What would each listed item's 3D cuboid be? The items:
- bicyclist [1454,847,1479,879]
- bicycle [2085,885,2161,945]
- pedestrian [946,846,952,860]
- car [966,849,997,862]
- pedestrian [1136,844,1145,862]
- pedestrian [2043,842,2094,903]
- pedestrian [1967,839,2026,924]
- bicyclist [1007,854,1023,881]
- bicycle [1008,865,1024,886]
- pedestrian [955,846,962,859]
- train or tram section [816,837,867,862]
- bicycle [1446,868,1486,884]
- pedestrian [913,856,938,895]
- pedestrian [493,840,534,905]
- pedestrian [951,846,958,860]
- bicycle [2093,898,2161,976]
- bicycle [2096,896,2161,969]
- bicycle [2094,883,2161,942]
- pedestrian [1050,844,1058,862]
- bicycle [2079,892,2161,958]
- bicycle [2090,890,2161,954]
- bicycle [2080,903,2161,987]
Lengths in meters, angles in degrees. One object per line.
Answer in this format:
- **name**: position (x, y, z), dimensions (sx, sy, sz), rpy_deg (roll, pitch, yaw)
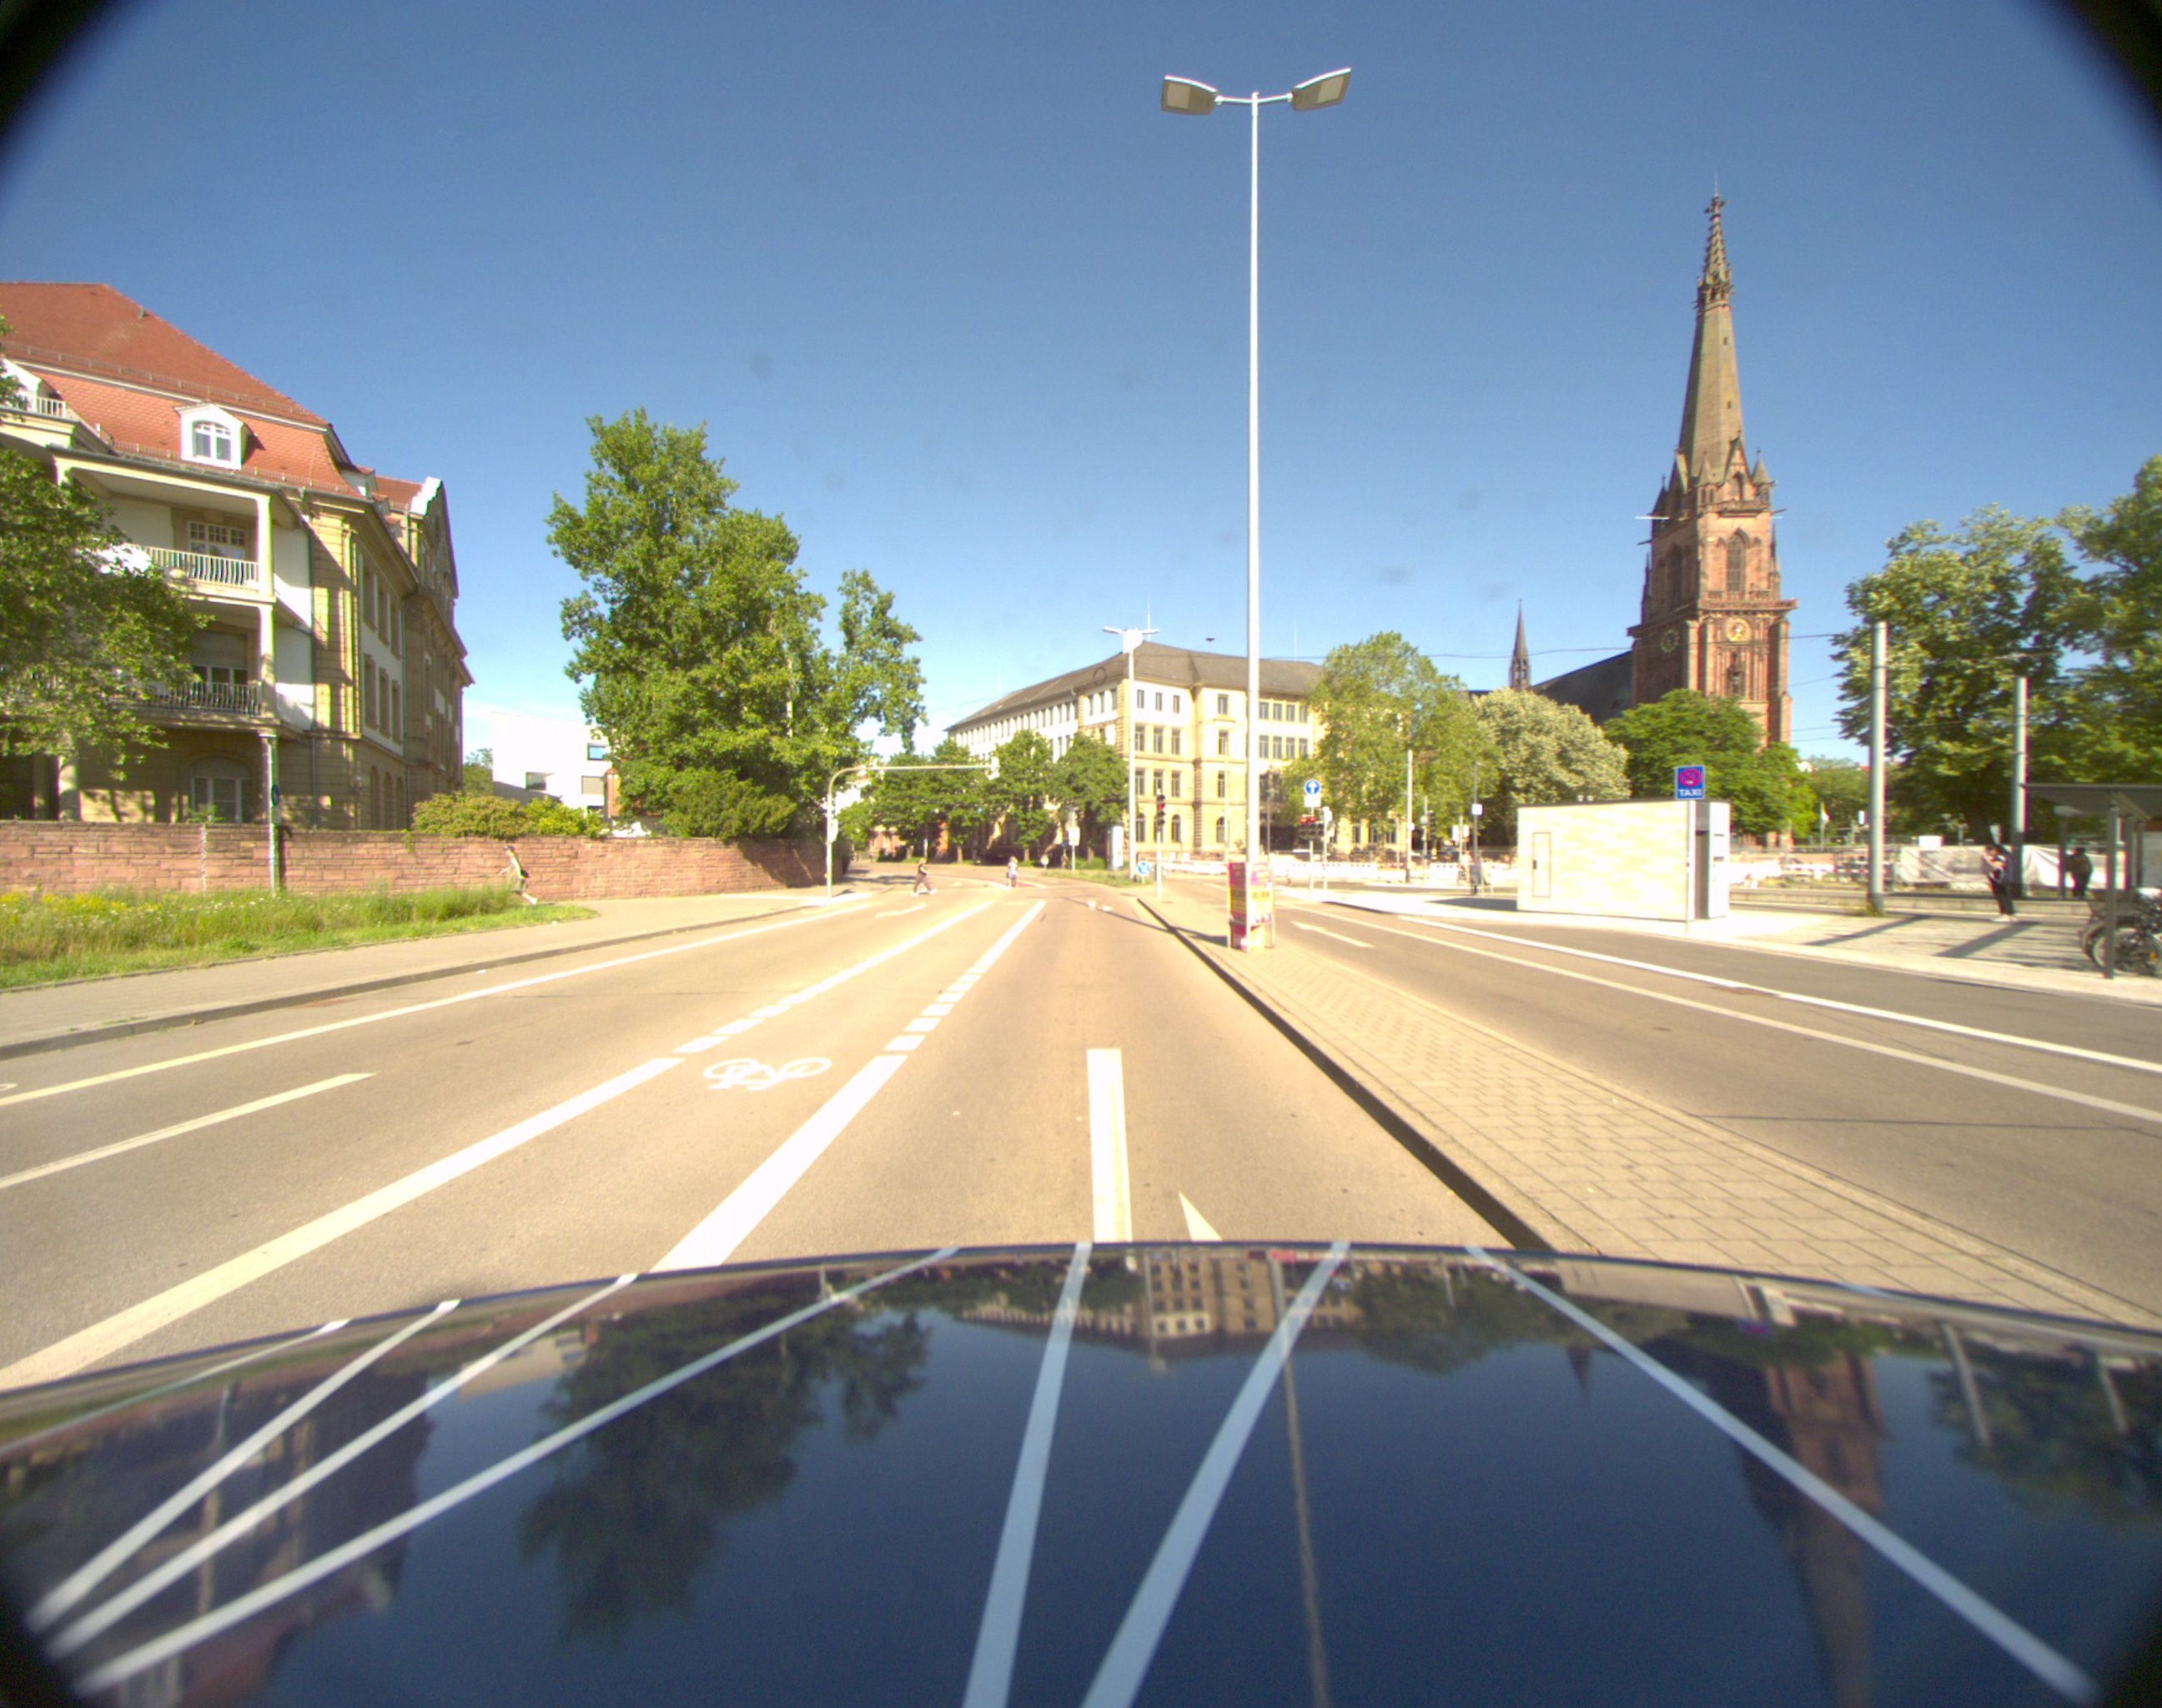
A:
- **bicyclist**: position (19.525, 0.441, 38.479), dimensions (0.887, 1.562, 0.739), rpy_deg (-1, 1, -29)
- **bicycle**: position (19.031, 1.083, 13.335), dimensions (0.407, 0.993, 1.679), rpy_deg (-3, 2, -33)
- **pedestrian**: position (-18.391, -0.129, 105.808), dimensions (0.578, 1.893, 0.781), rpy_deg (-1, 1, -36)
- **car**: position (-11.895, 0.144, 90.590), dimensions (1.839, 1.587, 3.989), rpy_deg (-1, 1, -37)
- **pedestrian**: position (5.617, -0.094, 71.772), dimensions (0.540, 1.710, 0.545), rpy_deg (-1, 1, -37)
- **pedestrian**: position (30.547, 0.555, 23.516), dimensions (0.619, 1.849, 0.703), rpy_deg (0, 1, 11)
- **pedestrian**: position (20.387, 0.584, 16.923), dimensions (0.621, 1.849, 0.700), rpy_deg (-1, 1, -28)
- **bicyclist**: position (-3.437, 0.715, 39.655), dimensions (0.741, 1.363, 0.626), rpy_deg (-2, 1, -6)
- **bicycle**: position (-3.417, 1.122, 39.676), dimensions (0.741, 0.989, 2.305), rpy_deg (-2, 1, -6)
- **pedestrian**: position (-17.403, -0.190, 107.802), dimensions (0.578, 1.893, 0.849), rpy_deg (-1, 1, -36)
- **train or tram section**: position (-35.411, -0.648, 111.646), dimensions (2.947, 3.500, 13.802), rpy_deg (-1, 1, -36)
- **bicycle**: position (19.499, 1.109, 38.461), dimensions (2.055, 0.777, 0.739), rpy_deg (-1, 1, -28)
- **pedestrian**: position (-6.753, 0.913, 33.002), dimensions (0.932, 1.657, 0.630), rpy_deg (0, 1, 0)
- **pedestrian**: position (-16.412, 0.512, 21.986), dimensions (0.628, 1.847, 0.789), rpy_deg (1, 1, 40)
- **pedestrian**: position (-17.709, -0.160, 106.204), dimensions (0.578, 1.893, 0.849), rpy_deg (-1, 1, -36)
- **bicycle**: position (15.033, 1.165, 10.206), dimensions (0.407, 0.993, 1.678), rpy_deg (-3, 3, -33)
- **bicycle**: position (16.131, 1.181, 10.996), dimensions (0.407, 0.993, 1.678), rpy_deg (-3, 3, -33)
- **bicycle**: position (19.516, 1.063, 13.577), dimensions (0.407, 0.993, 1.679), rpy_deg (-3, 2, -33)
- **pedestrian**: position (-3.046, -0.116, 85.309), dimensions (0.557, 2.002, 0.645), rpy_deg (-1, 1, -37)
- **bicycle**: position (17.187, 1.140, 12.010), dimensions (0.407, 0.993, 1.679), rpy_deg (-3, 2, -33)
- **bicycle**: position (17.967, 1.136, 12.457), dimensions (0.407, 0.993, 1.679), rpy_deg (-3, 2, -33)
- **bicycle**: position (13.988, 1.187, 9.548), dimensions (0.407, 0.993, 1.678), rpy_deg (-3, 3, -33)
